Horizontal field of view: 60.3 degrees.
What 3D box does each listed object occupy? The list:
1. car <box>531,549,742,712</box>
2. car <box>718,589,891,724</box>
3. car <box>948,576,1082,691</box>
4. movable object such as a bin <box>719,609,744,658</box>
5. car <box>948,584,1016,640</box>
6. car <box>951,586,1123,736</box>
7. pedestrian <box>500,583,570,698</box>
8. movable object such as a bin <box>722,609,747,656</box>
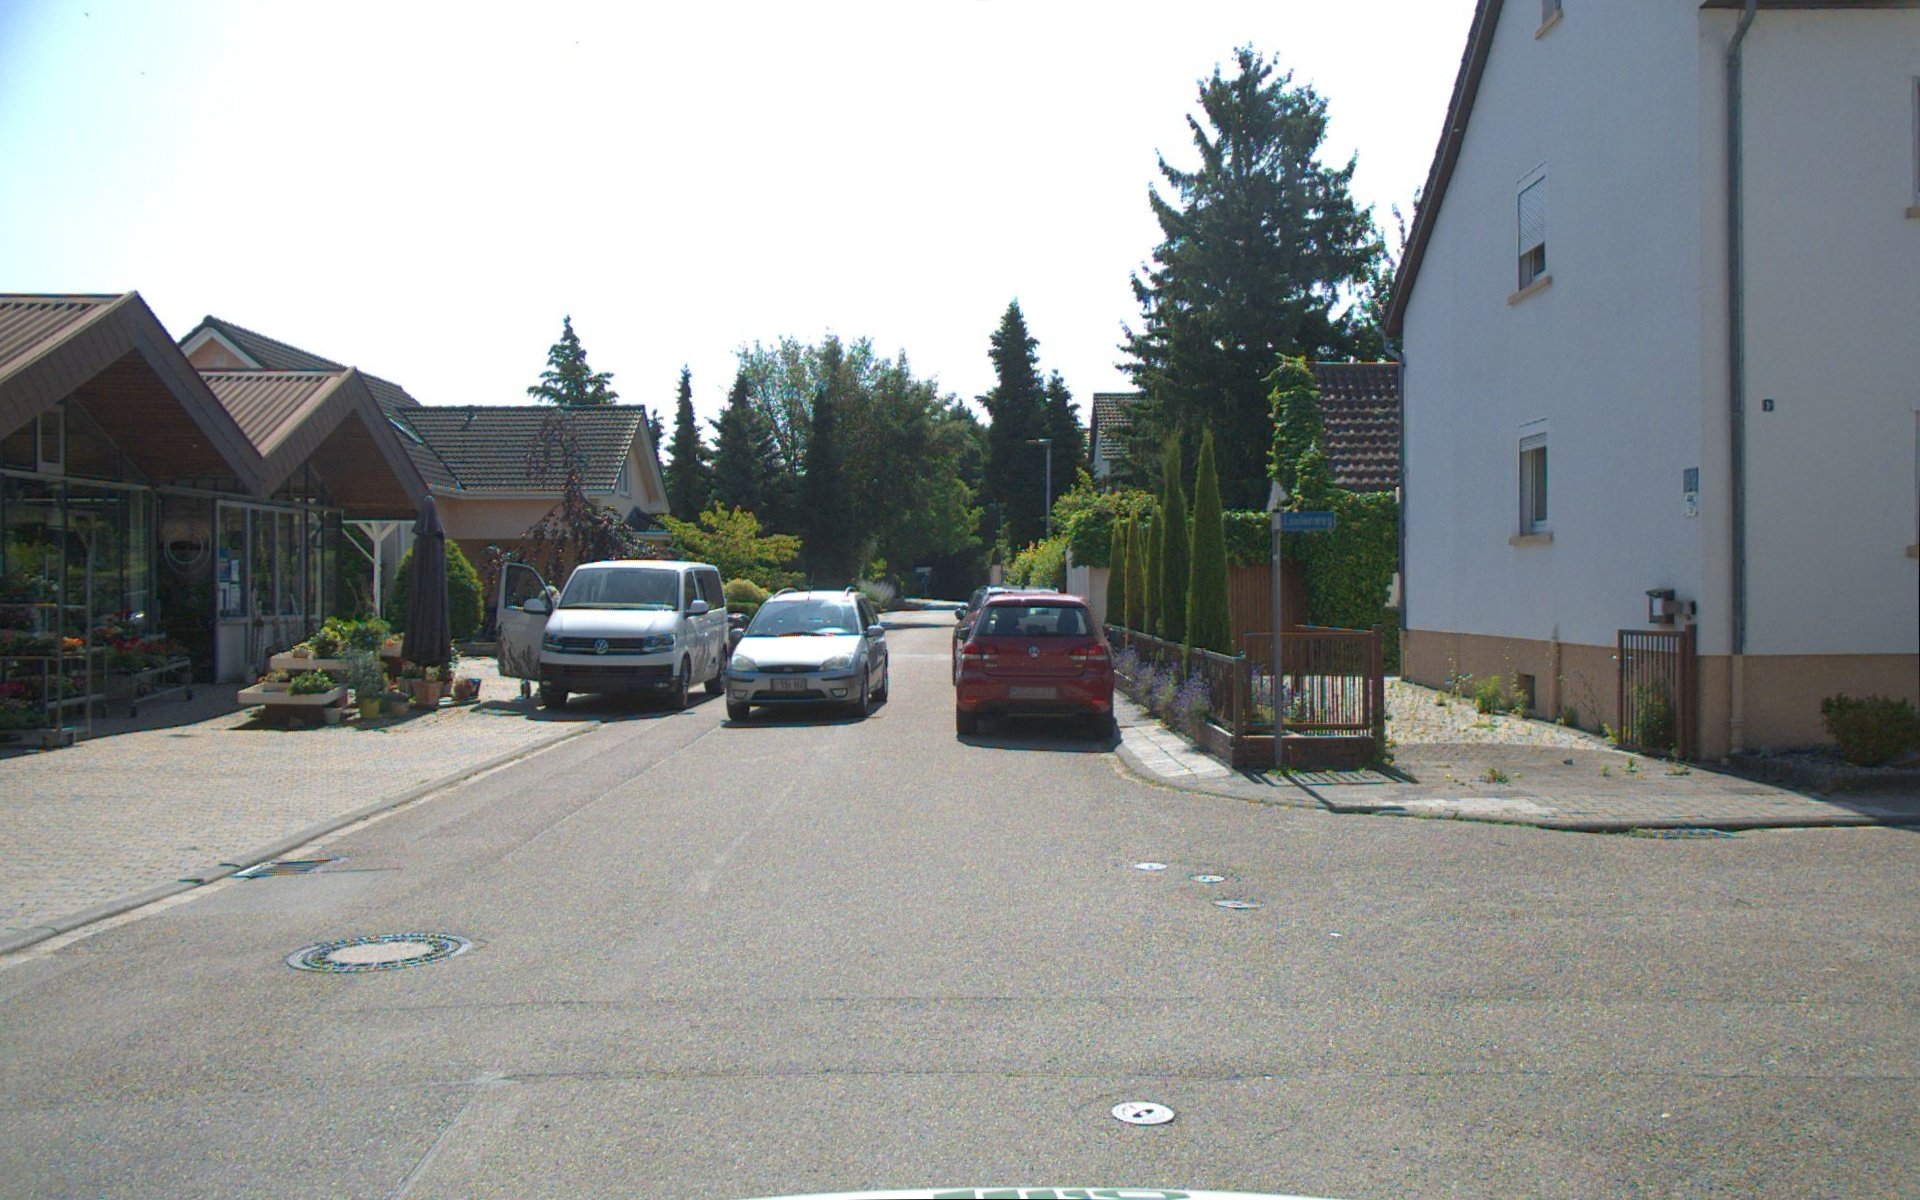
[{"bbox_3d":[-4.406,0.366,23.339,1.889,2.049,4.897,0,0,2],"label":"car"},{"bbox_3d":[-1.882,0.638,21.178,1.716,1.513,4.376,-1,0,1],"label":"car"},{"bbox_3d":[0.777,0.467,25.812,1.786,1.643,3.998,0,0,-3],"label":"car"},{"bbox_3d":[-5.033,0.735,36.451,0.484,1.042,0.447,-1,0,0],"label":"movable object such as a bin"},{"bbox_3d":[0.554,0.307,44.491,1.668,1.424,3.999,0,0,-1],"label":"car"},{"bbox_3d":[0.904,0.621,19.052,1.738,1.505,4.002,1,0,3],"label":"car"},{"bbox_3d":[-5.944,0.552,23.146,0.704,1.565,0.640,1,1,33],"label":"pedestrian"},{"bbox_3d":[-5.028,0.724,36.938,0.484,1.042,0.447,-1,0,0],"label":"movable object such as a bin"}]
